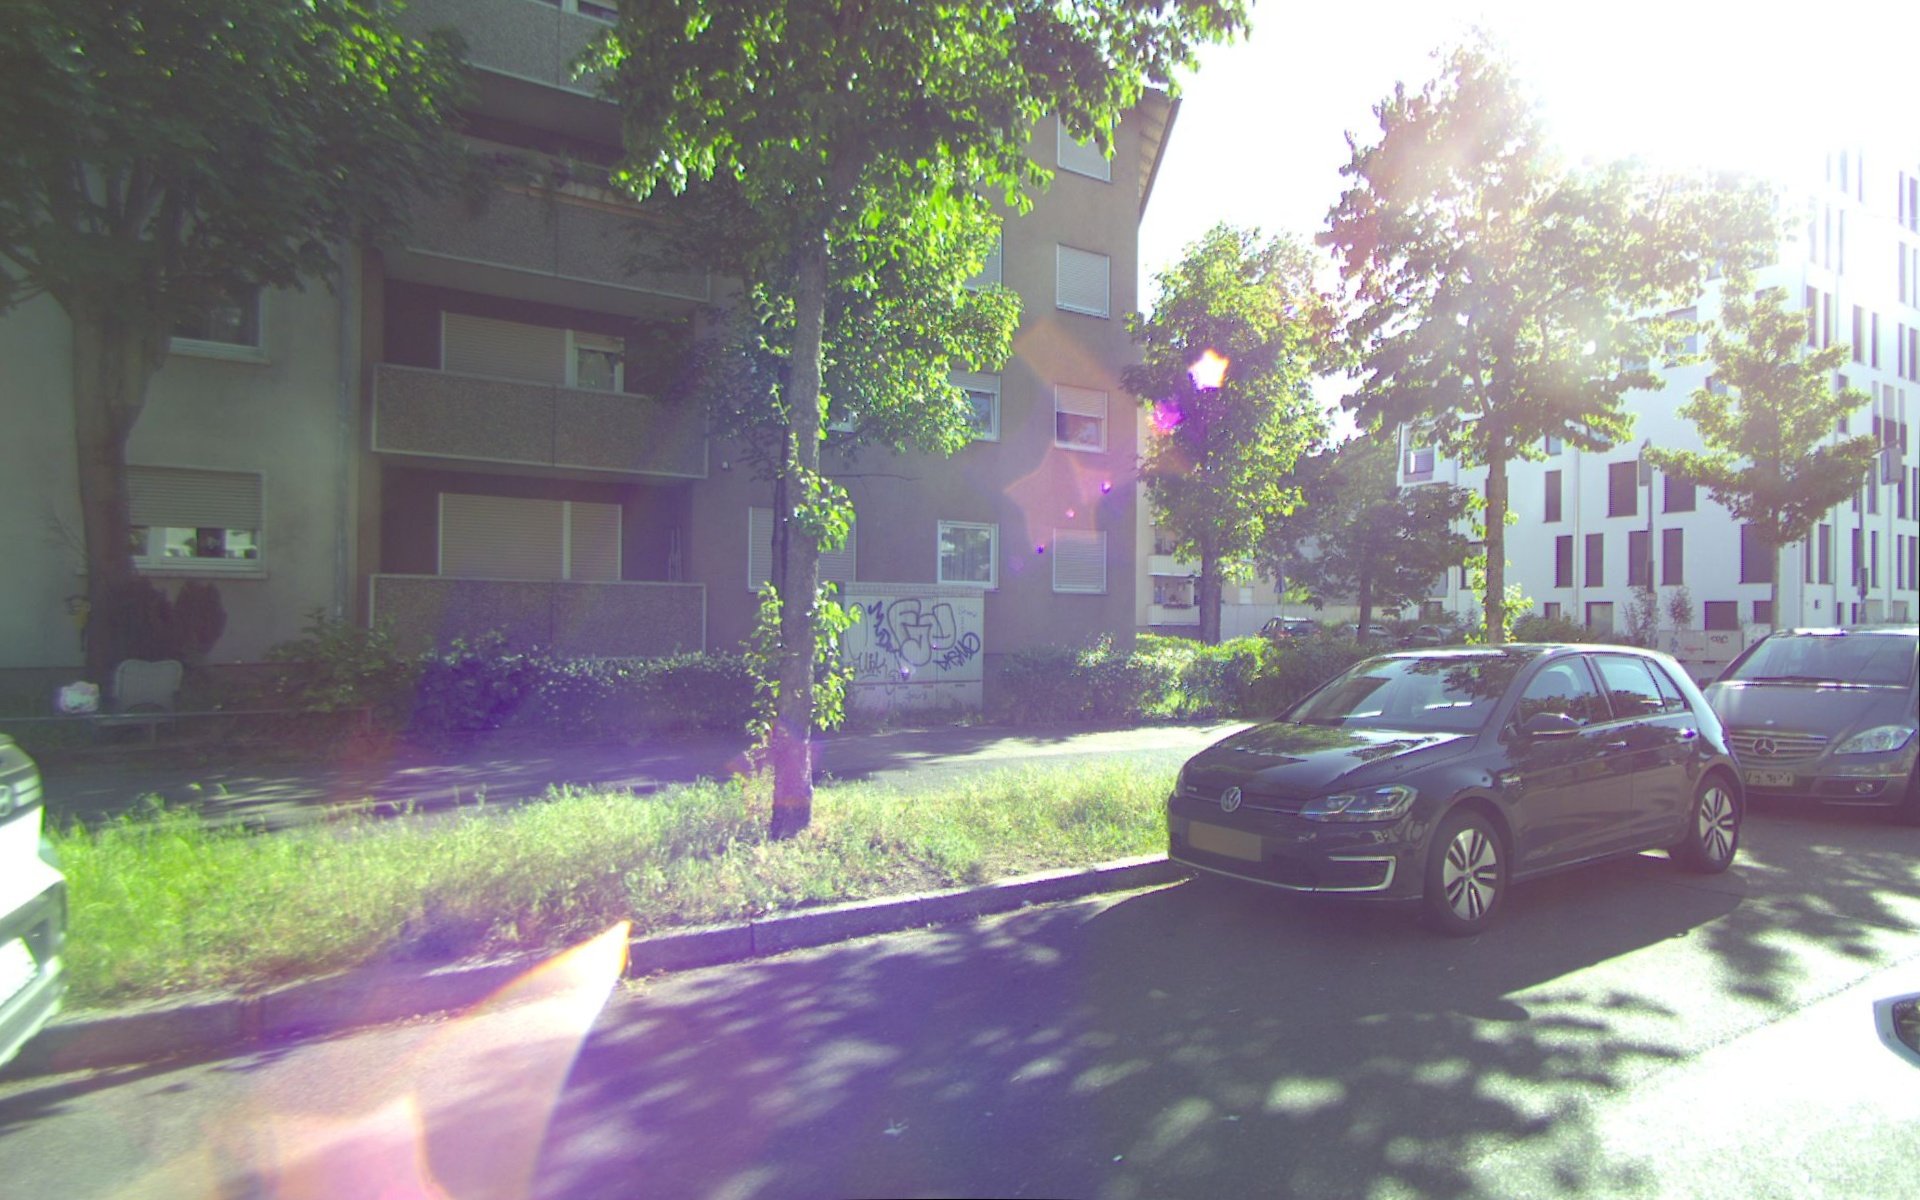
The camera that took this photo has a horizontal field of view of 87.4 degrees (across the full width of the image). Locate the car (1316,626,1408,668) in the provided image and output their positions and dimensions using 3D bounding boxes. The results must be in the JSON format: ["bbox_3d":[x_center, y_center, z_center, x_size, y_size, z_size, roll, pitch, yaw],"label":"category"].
[{"bbox_3d":[14.778,1.713,37.182,1.960,1.450,4.567,-1,-2,5],"label":"car"}]

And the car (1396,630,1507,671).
[{"bbox_3d":[16.955,1.700,34.918,1.960,1.183,4.566,-1,0,5],"label":"car"}]

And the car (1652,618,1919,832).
[{"bbox_3d":[8.332,1.004,9.248,4.061,1.583,1.712,2,-2,-31],"label":"car"}]

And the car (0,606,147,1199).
[{"bbox_3d":[-4.205,0.772,1.857,3.955,1.547,1.708,2,1,-31],"label":"car"}]

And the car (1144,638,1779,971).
[{"bbox_3d":[3.254,1.002,6.300,4.045,1.413,1.651,2,0,-31],"label":"car"}]

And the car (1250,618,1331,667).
[{"bbox_3d":[12.544,1.573,38.410,1.960,1.673,4.001,-1,0,3],"label":"car"}]
